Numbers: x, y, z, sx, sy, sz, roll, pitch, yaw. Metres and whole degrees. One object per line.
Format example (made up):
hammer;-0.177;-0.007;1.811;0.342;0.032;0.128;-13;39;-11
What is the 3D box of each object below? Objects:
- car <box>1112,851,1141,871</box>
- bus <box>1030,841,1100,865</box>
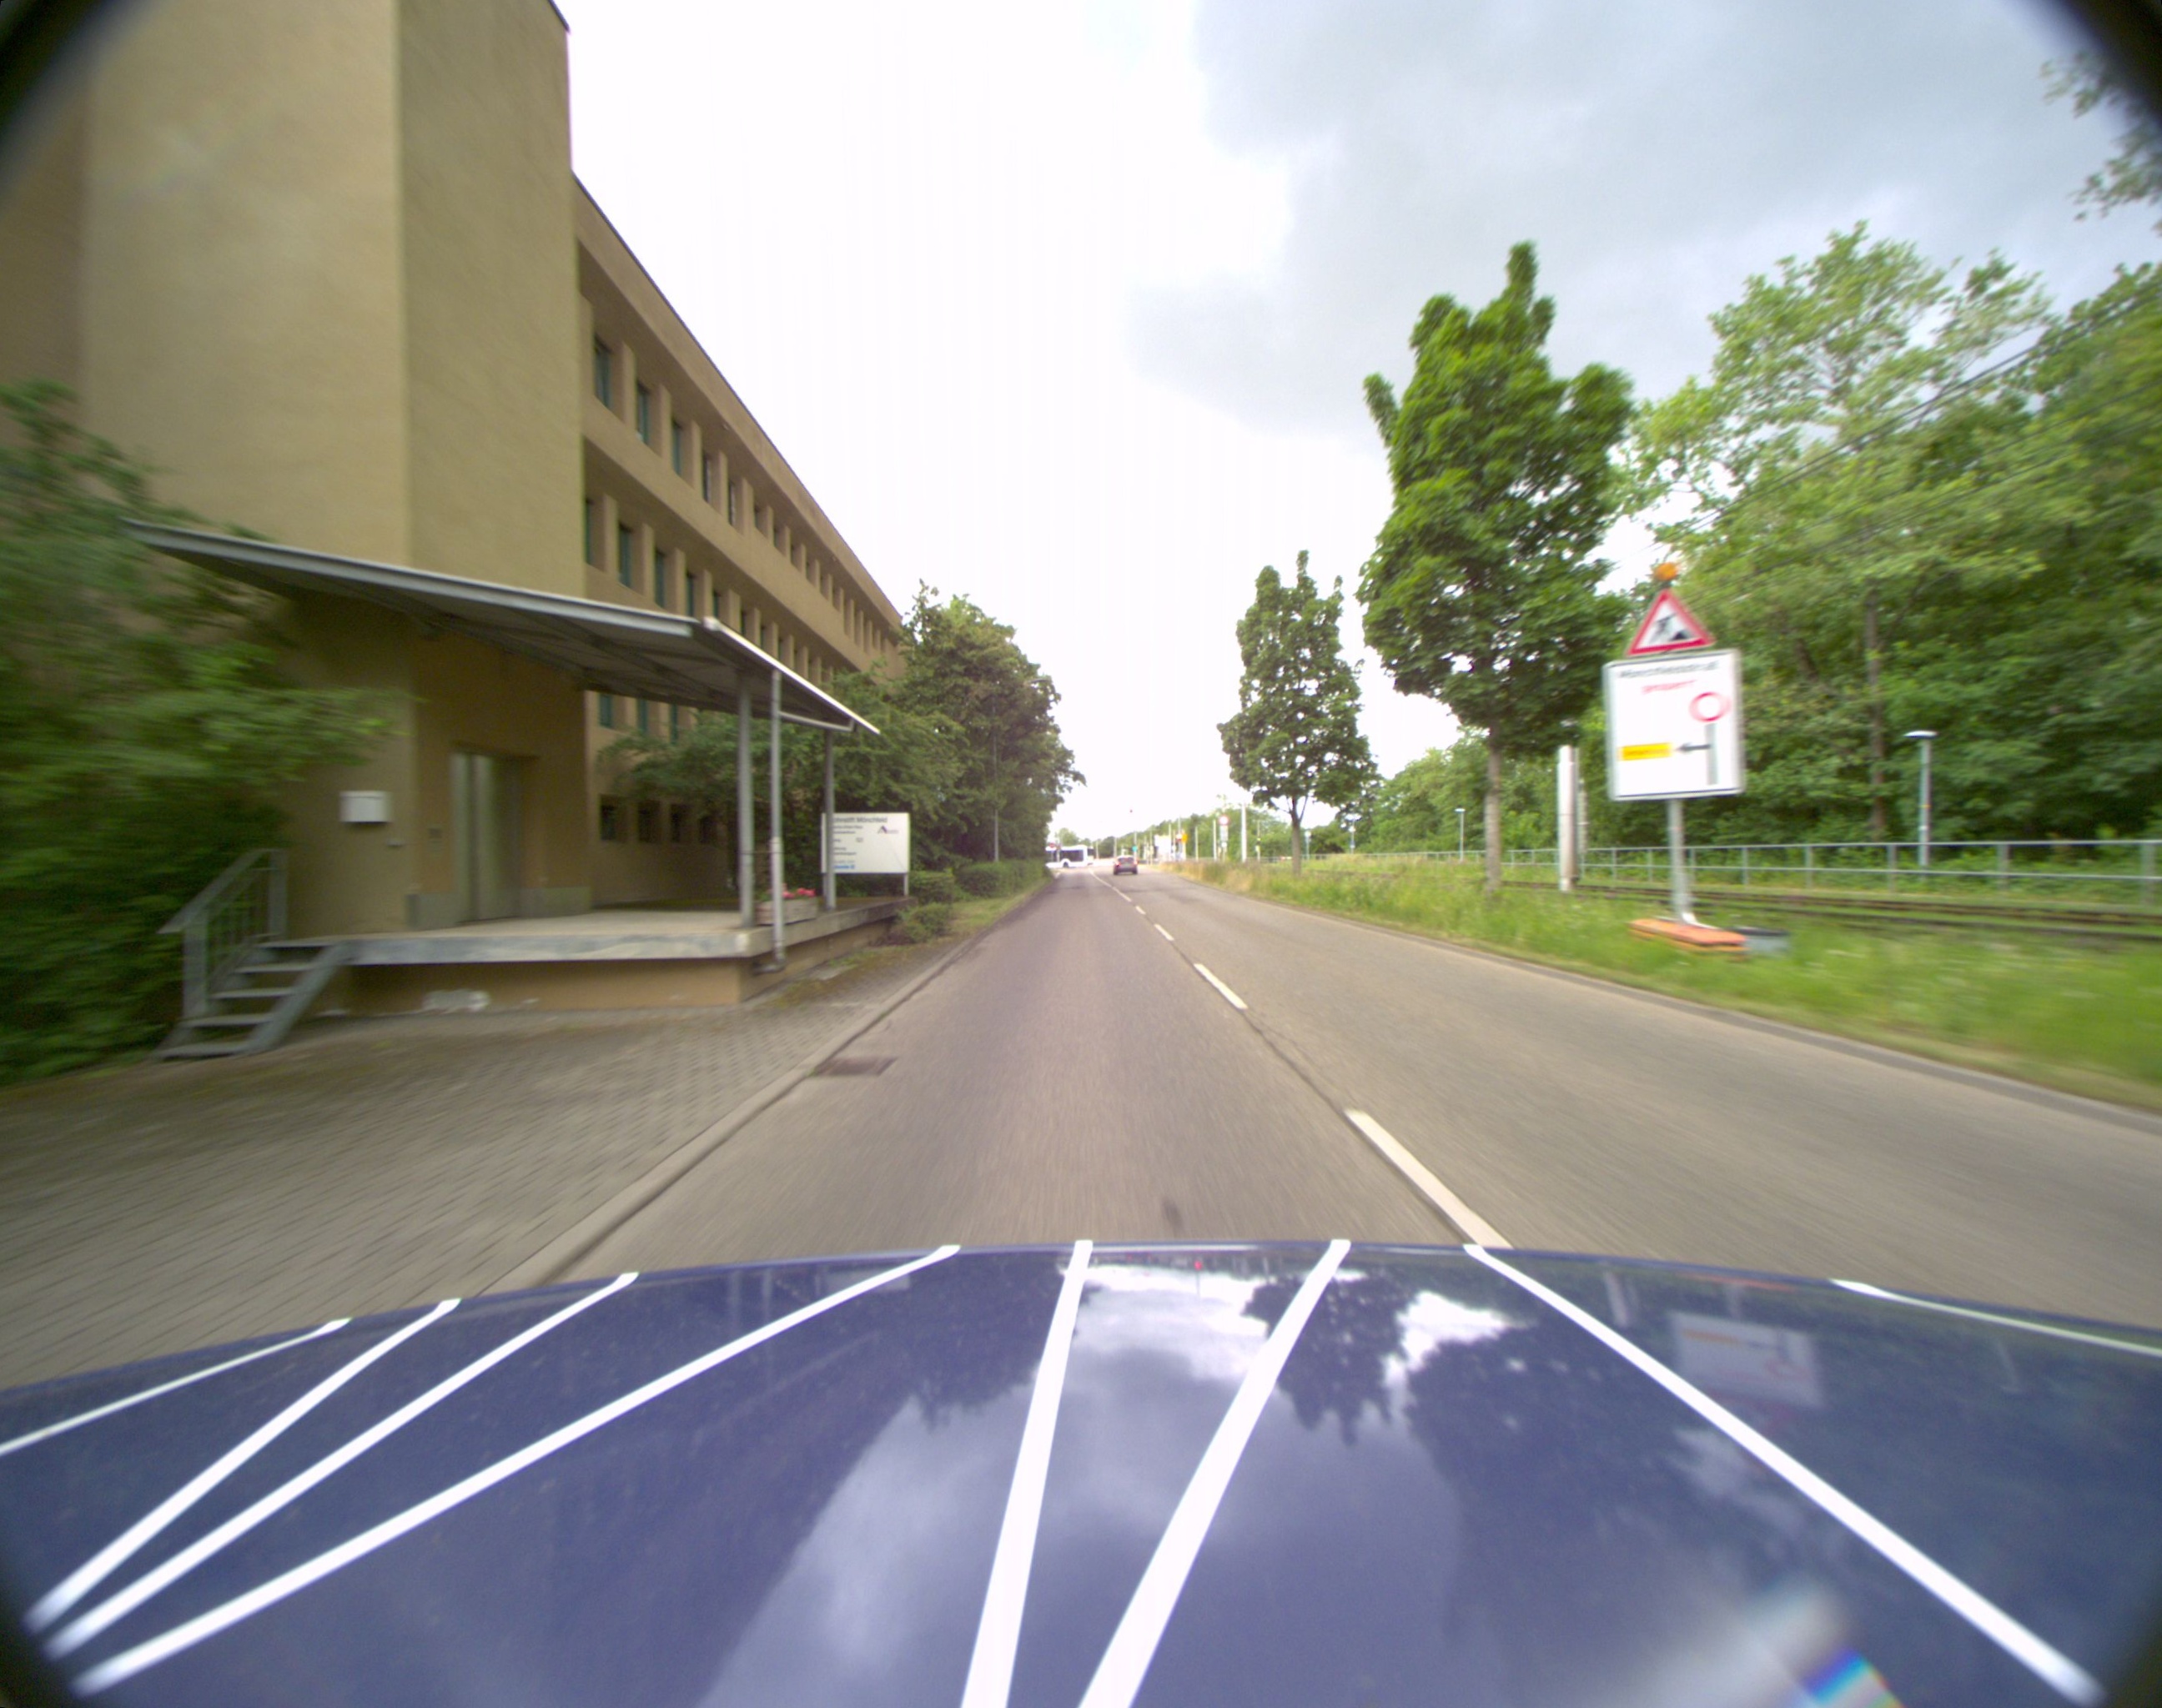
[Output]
car;3.581;0.528;60.206;2.038;1.508;3.654;-2;0;1
bus;-2.418;-0.123;110.356;9.853;3.049;3.174;-2;0;30
